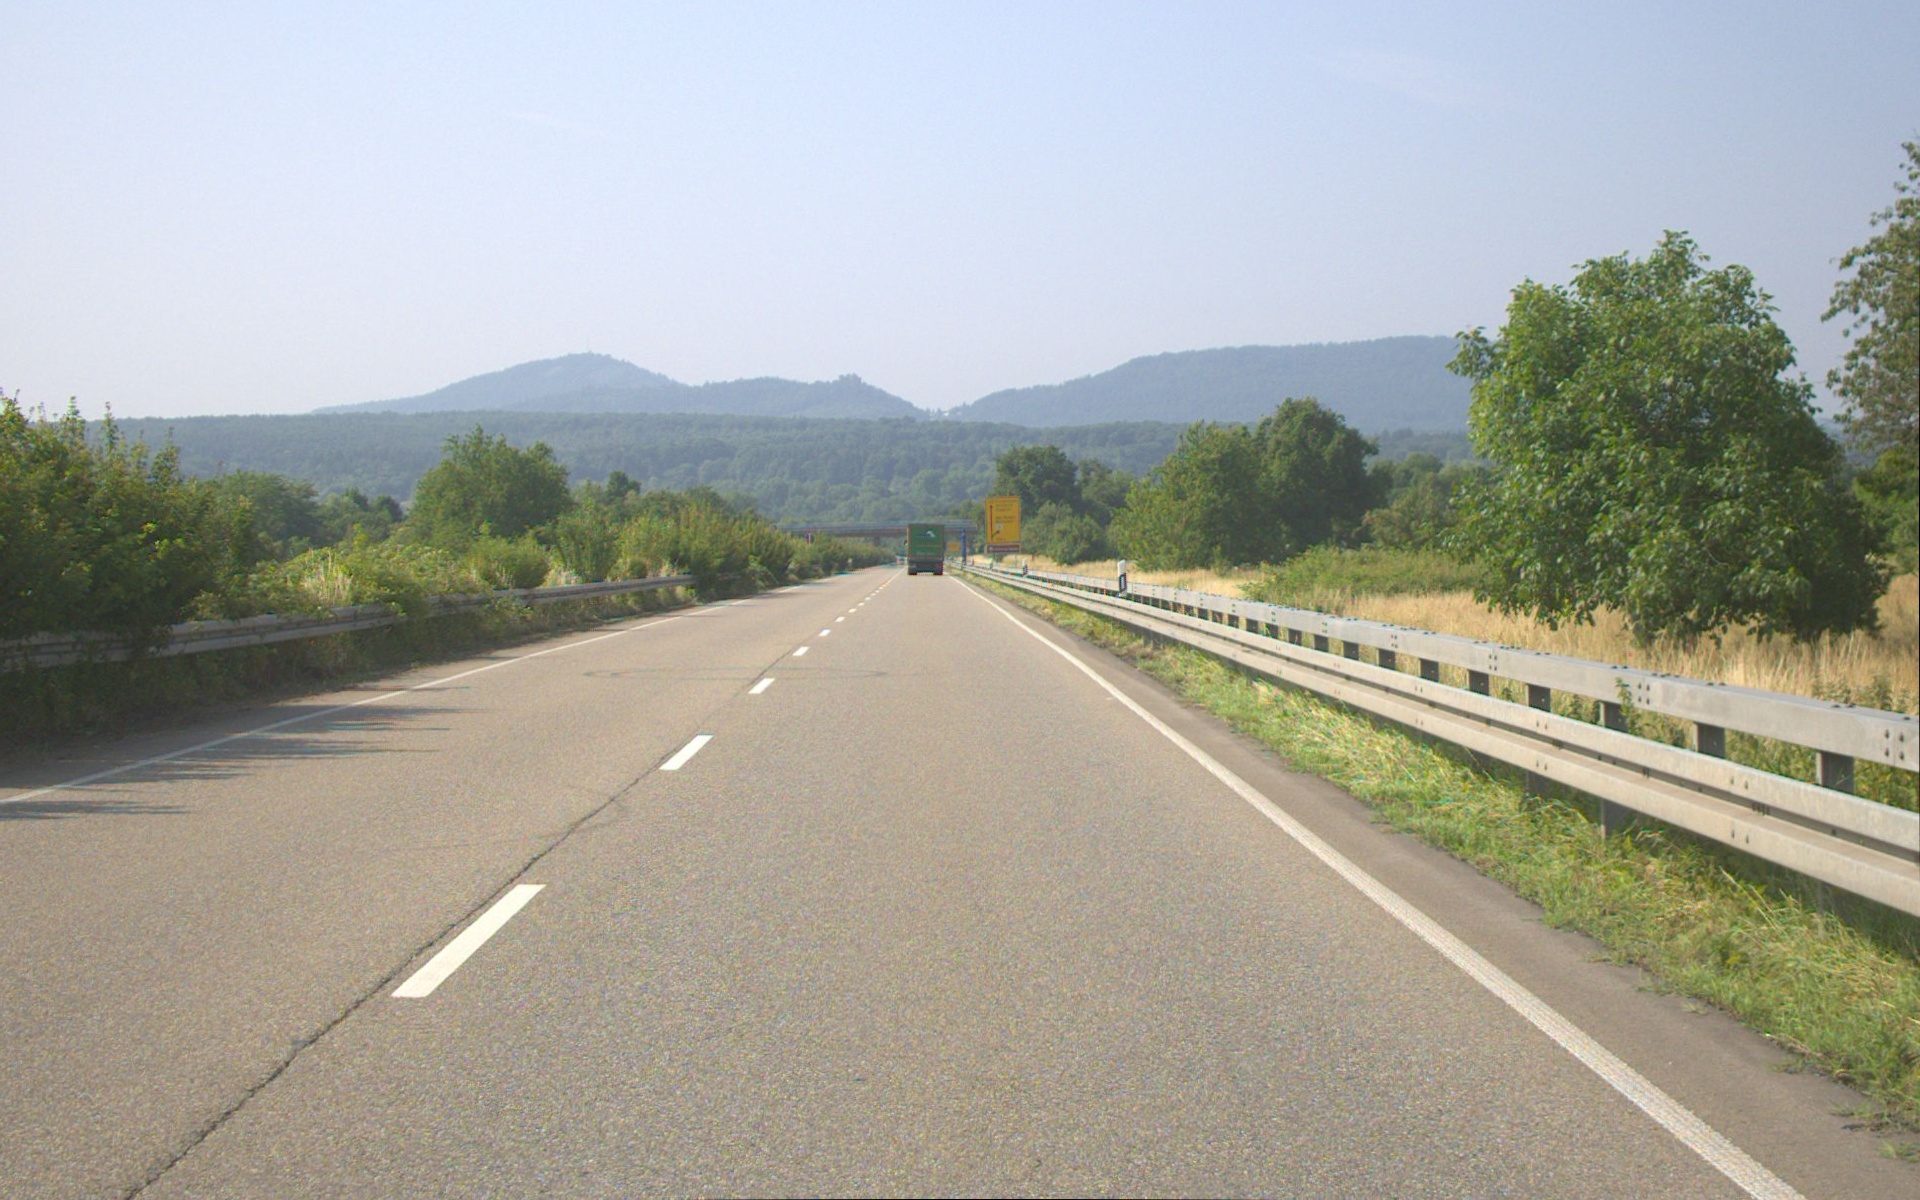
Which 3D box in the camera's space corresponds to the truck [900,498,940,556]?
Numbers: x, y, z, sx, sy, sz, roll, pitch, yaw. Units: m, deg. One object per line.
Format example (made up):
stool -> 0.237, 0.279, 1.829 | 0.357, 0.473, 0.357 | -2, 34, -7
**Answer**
truck -> -2.850, -5.247, 245.133 | 2.722, 3.952, 10.416 | 1, 2, 0
